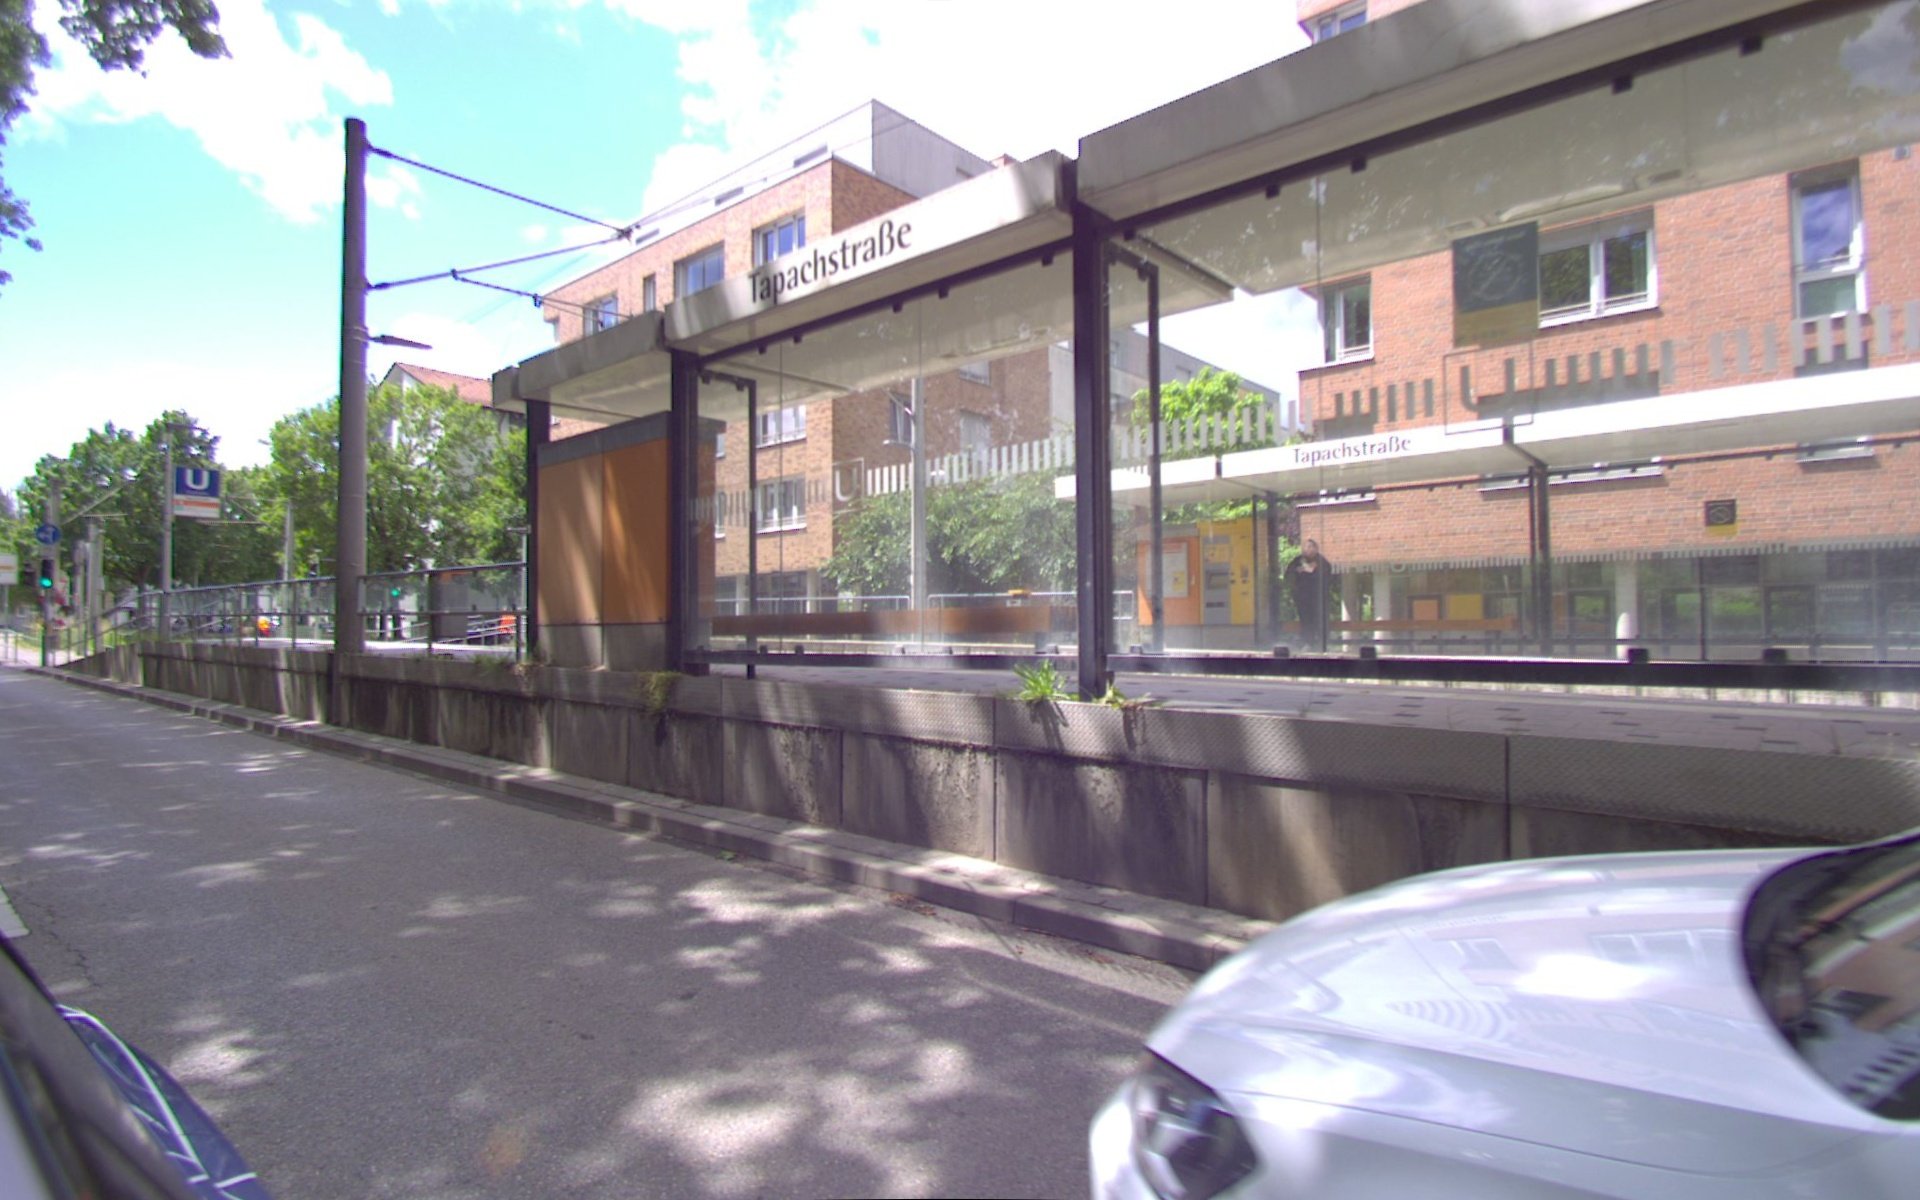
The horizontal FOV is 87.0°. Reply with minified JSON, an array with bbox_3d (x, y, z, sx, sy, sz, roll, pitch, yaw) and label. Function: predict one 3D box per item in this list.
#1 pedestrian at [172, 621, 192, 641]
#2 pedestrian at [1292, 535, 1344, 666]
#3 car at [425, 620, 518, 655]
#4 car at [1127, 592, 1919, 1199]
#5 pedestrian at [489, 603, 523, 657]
[{"bbox_3d":[-66.029,2.660,85.900,1.007,1.677,0.876,0,-2,-2],"label":"pedestrian"},{"bbox_3d":[4.976,0.017,14.054,0.527,1.777,0.529,-1,-2,38],"label":"pedestrian"},{"bbox_3d":[-23.361,1.817,48.436,1.588,1.488,3.632,-2,-5,43],"label":"car"},{"bbox_3d":[2.205,0.682,0.777,3.748,1.406,1.715,-1,0,40],"label":"car"},{"bbox_3d":[-15.476,1.027,34.490,0.828,1.839,0.736,-2,-3,40],"label":"pedestrian"}]
